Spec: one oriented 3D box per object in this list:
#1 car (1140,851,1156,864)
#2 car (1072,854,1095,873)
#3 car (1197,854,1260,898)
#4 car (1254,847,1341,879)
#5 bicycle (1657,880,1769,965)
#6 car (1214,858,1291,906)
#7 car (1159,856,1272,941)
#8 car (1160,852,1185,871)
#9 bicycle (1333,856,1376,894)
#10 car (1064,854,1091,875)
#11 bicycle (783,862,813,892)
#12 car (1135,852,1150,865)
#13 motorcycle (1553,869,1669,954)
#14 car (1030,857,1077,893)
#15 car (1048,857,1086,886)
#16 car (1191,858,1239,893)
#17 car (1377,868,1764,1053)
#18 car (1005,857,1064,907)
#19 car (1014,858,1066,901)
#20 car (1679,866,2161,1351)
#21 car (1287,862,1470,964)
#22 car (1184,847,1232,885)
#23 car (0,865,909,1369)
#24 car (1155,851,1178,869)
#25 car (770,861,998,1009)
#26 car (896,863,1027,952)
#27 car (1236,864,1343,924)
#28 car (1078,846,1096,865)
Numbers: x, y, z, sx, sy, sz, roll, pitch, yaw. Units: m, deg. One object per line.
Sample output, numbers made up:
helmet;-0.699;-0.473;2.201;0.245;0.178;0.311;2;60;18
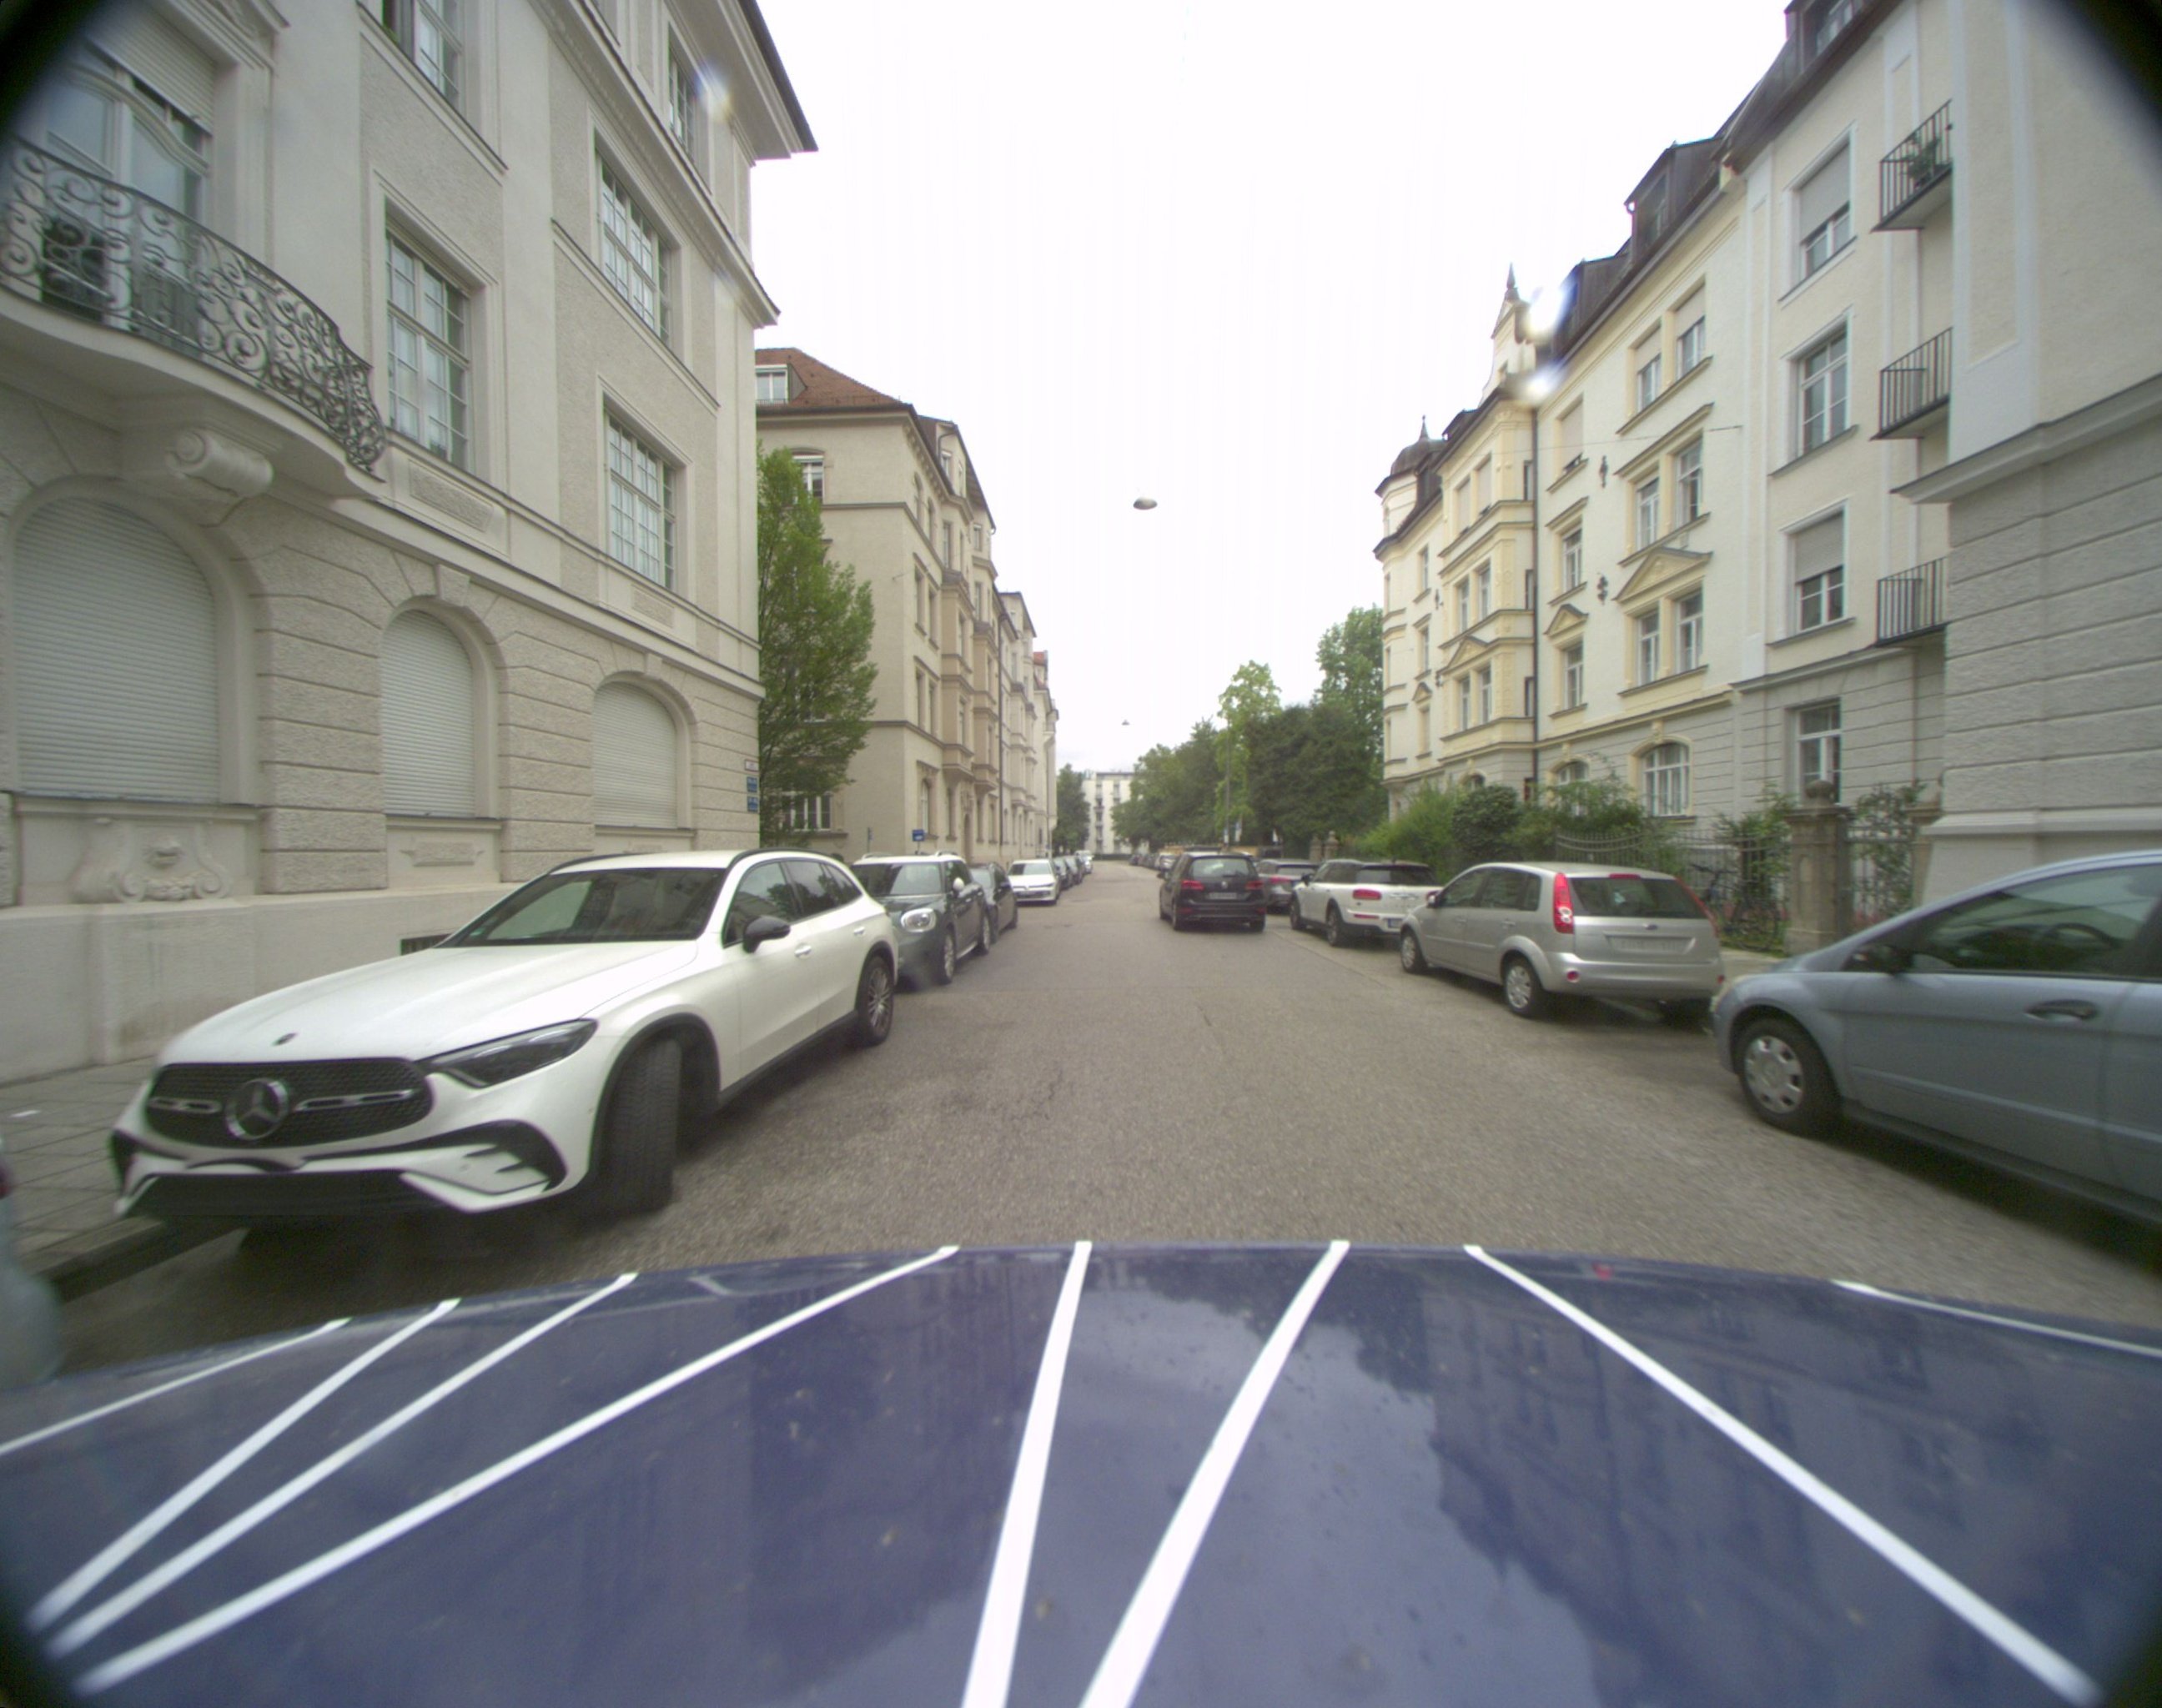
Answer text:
car;8.210;0.433;93.025;1.653;1.552;3.930;1;0;1
car;0.207;0.731;60.562;1.715;1.462;4.085;-2;0;0
car;5.904;0.836;30.872;1.810;1.638;4.486;1;0;2
car;12.769;0.509;44.973;4.519;1.847;2.054;0;0;-4
bicycle;9.002;0.938;10.886;0.432;1.055;1.420;-4;0;4
car;5.767;0.907;25.973;1.773;1.412;3.999;0;1;0
car;2.666;0.825;15.936;1.728;1.525;4.086;0;0;1
car;7.644;0.612;63.586;1.704;1.483;3.956;1;0;1
bicycle;9.732;0.712;27.107;0.757;1.289;2.531;1;0;4
car;-0.222;0.740;55.559;1.714;1.382;4.001;-2;0;3
bicycle;-8.945;0.717;24.030;0.453;0.903;1.130;1;1;5
car;7.849;0.528;97.040;1.653;1.552;3.930;1;0;1
motorcycle;8.842;0.912;12.778;0.706;1.242;1.821;-2;1;2
car;-1.204;0.942;35.182;1.746;1.390;4.022;-3;1;4
car;-0.689;0.894;40.365;1.645;1.409;4.001;-1;0;4
car;6.201;0.960;35.523;1.646;1.422;3.919;2;1;2
car;4.852;0.928;8.328;1.649;1.395;4.000;2;0;0
car;-1.492;0.881;25.488;1.667;1.499;4.065;-1;0;0
car;-1.570;0.954;30.287;1.796;1.489;4.082;-3;0;0
car;4.450;0.883;2.610;1.700;1.571;4.062;2;0;3
car;5.012;0.916;13.449;1.801;1.426;4.080;-1;1;3
car;6.698;0.564;40.545;1.916;1.876;4.817;0;1;3
car;-2.668;0.902;4.741;1.900;1.626;4.393;0;0;4
car;7.701;0.484;68.636;1.704;1.552;3.930;1;0;1
car;-2.343;0.889;10.214;1.752;1.516;4.171;-1;0;3
car;-2.202;0.945;15.105;1.715;1.443;4.225;-1;0;3
car;5.526;1.007;20.644;1.739;1.357;4.192;1;0;0
car;0.582;0.172;79.474;1.794;1.926;4.085;-2;0;0
